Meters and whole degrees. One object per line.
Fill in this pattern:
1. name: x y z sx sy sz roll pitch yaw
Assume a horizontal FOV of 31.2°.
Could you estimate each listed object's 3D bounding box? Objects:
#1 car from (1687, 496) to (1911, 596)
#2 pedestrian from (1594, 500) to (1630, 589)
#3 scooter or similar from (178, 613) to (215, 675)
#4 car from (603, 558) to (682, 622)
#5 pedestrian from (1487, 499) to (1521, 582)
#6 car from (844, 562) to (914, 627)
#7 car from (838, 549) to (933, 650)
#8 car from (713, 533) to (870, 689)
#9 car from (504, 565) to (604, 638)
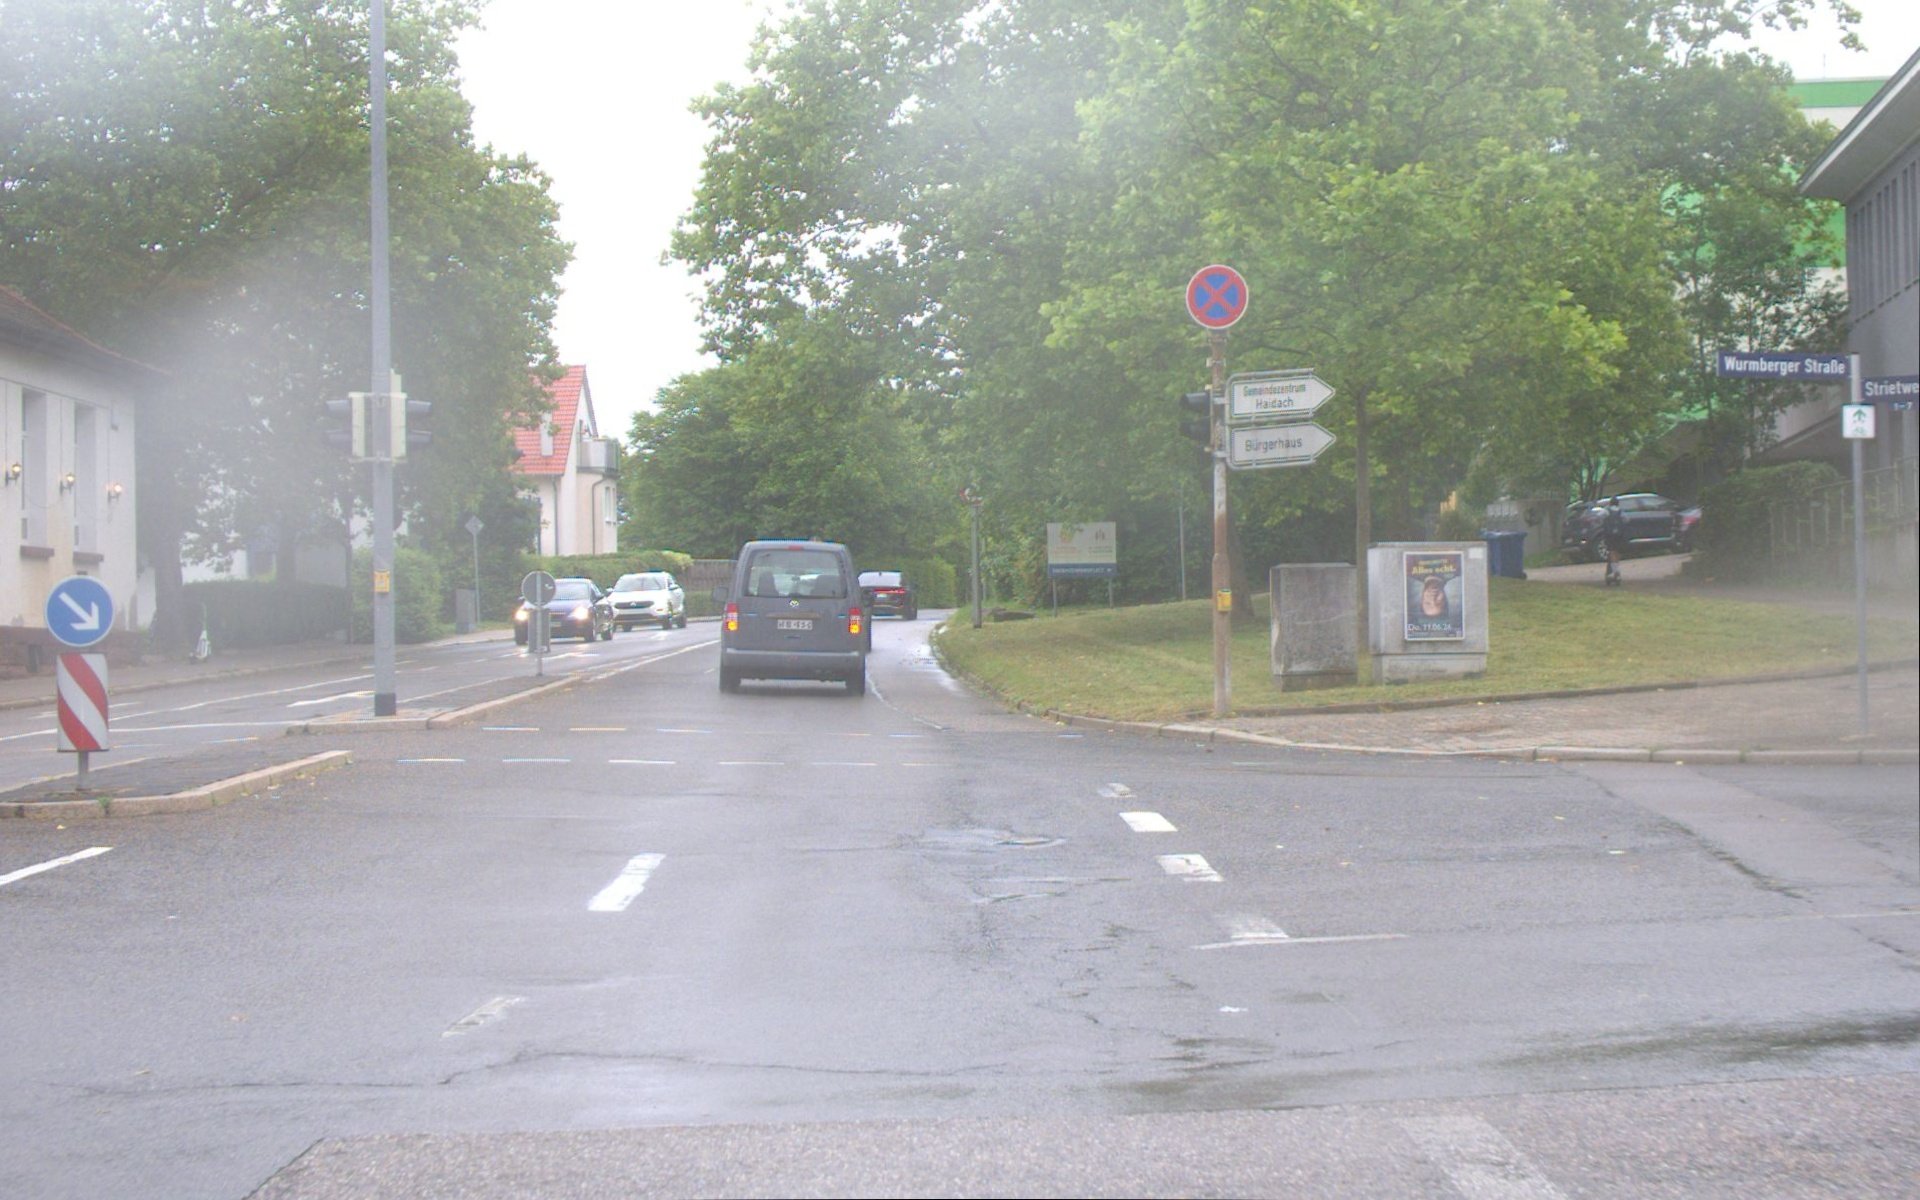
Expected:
1. car: 15.950 -1.018 65.549 3.988 1.810 1.999 1 0 10
2. pedestrian: 12.021 -1.018 63.374 0.601 1.611 0.525 1 0 8
3. scooter or similar: -13.282 0.756 59.845 0.389 1.061 1.410 1 0 -3
4. car: -8.675 -0.301 94.292 1.830 1.666 4.051 -1 1 -1
5. pedestrian: 11.644 -1.267 73.575 0.557 1.757 0.728 1 0 -3
6. car: -2.384 -0.155 101.907 1.993 1.875 4.000 1 0 -1
7. car: -1.408 -0.006 64.225 1.705 1.802 3.685 1 0 -2
8. car: -2.031 0.131 42.104 1.812 1.802 3.757 1 0 -2
9. car: -9.138 0.014 77.594 1.793 1.522 4.209 -1 1 -1
